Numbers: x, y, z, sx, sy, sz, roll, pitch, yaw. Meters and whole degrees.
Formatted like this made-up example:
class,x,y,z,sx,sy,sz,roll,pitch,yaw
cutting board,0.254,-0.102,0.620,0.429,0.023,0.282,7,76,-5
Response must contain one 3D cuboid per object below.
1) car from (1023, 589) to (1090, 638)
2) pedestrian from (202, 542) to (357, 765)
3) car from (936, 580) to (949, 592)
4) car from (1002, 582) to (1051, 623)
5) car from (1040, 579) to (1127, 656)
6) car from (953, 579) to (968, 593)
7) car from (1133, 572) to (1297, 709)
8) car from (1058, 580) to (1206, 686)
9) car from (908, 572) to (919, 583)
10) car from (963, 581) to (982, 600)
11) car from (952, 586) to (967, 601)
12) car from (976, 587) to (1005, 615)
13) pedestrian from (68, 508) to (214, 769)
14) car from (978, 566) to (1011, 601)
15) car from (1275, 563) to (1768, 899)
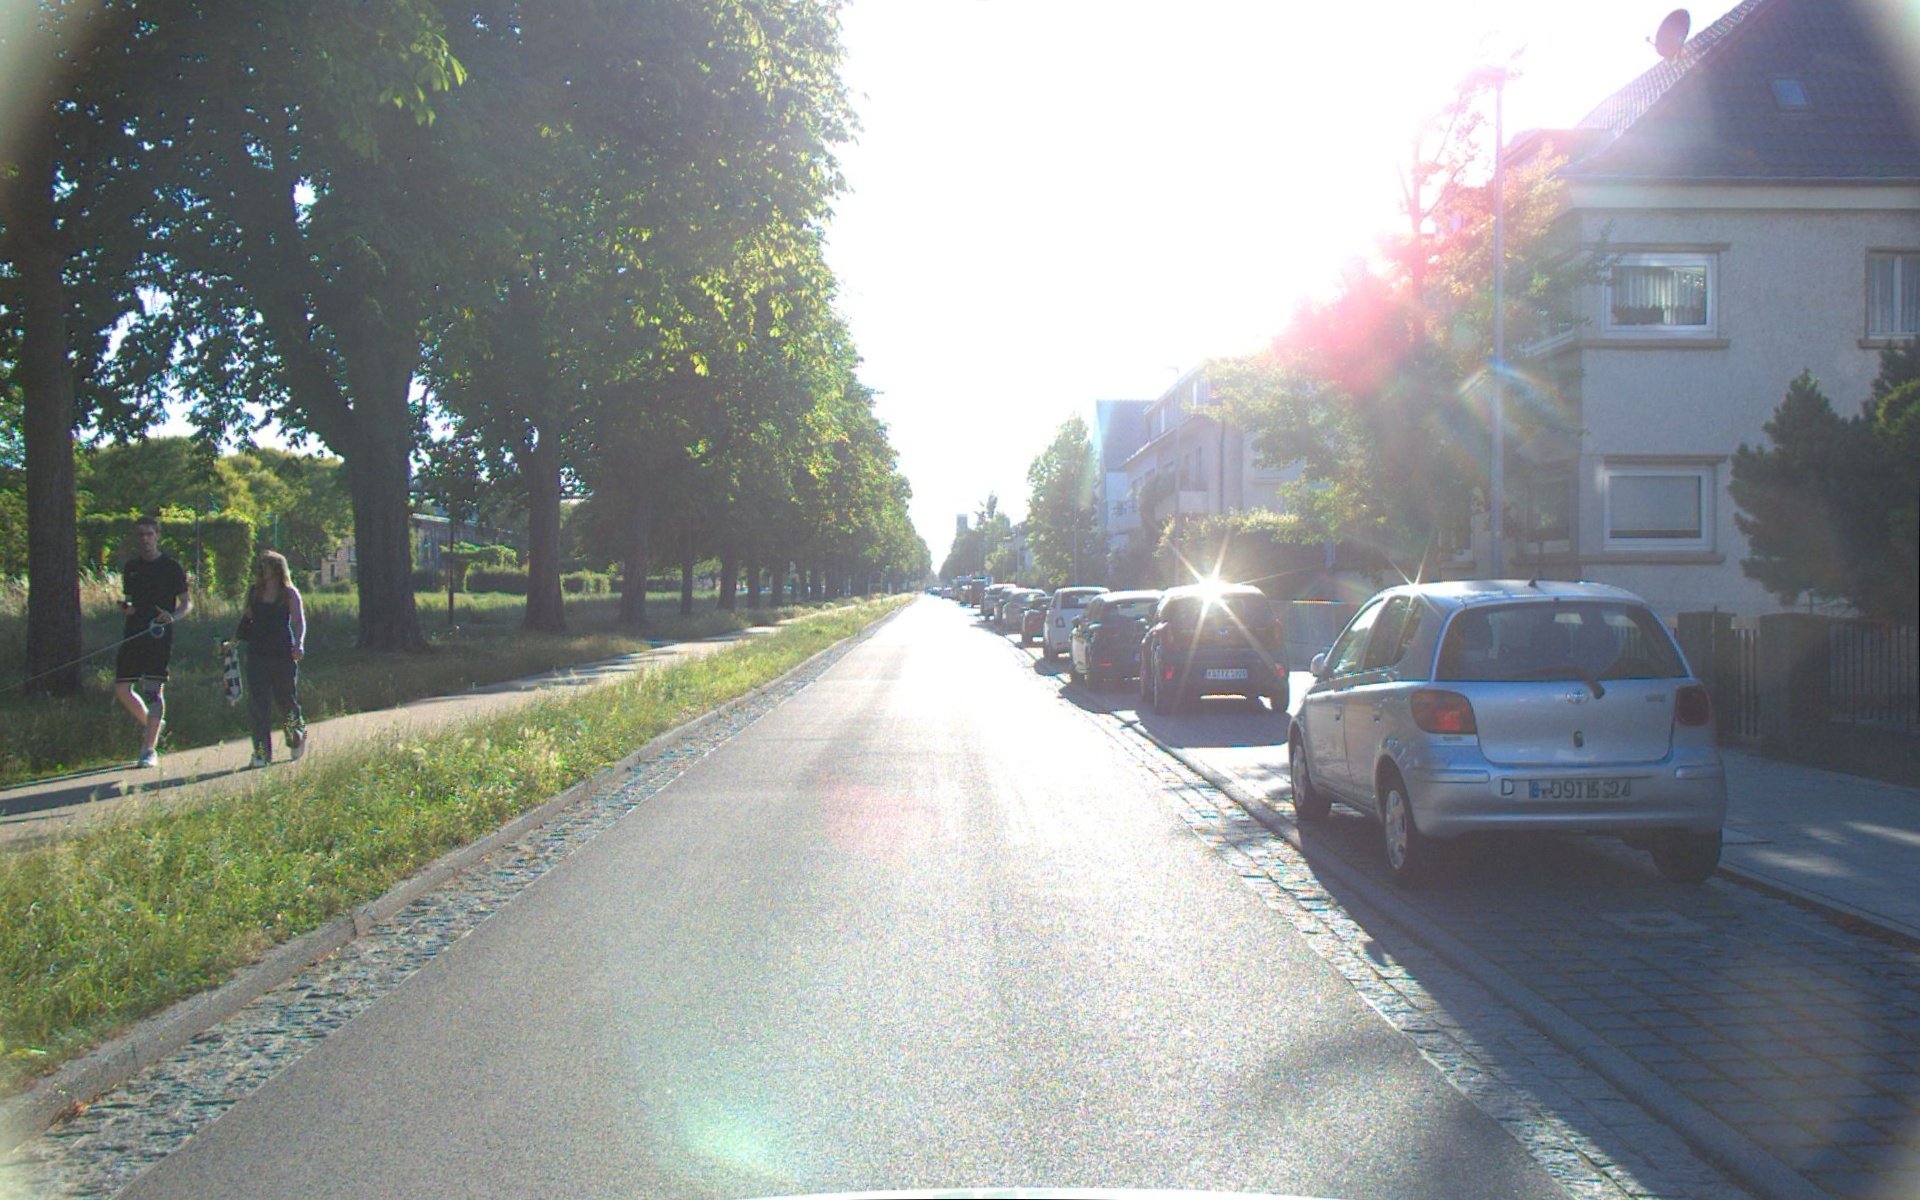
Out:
class,x,y,z,sx,sy,sz,roll,pitch,yaw
car,2.605,0.341,45.253,1.658,1.270,3.497,0,0,0
pedestrian,-5.205,0.390,12.703,0.767,1.642,0.952,0,1,3
car,-2.340,-1.837,221.512,1.618,1.568,3.266,1,0,-1
car,2.365,0.074,59.206,1.618,1.421,3.266,0,0,0
car,2.585,0.346,35.212,1.560,1.536,3.591,0,0,0
car,0.052,-1.548,183.747,1.618,1.568,3.266,1,0,0
car,3.111,0.461,20.753,1.623,1.520,3.717,-1,0,3
car,2.597,0.478,25.797,1.702,1.474,4.195,-2,0,-2
car,-7.043,-3.441,249.273,1.618,1.568,3.266,1,0,-1
car,1.049,-0.825,139.414,1.618,1.568,3.266,1,0,0
car,-0.043,-0.746,178.434,1.618,1.568,3.266,1,0,0
car,1.665,0.040,90.874,1.561,1.459,3.266,0,0,0
pedestrian,-6.051,0.266,12.257,0.611,1.863,0.886,0,0,3
car,1.603,-0.764,77.477,1.467,1.594,3.266,0,0,0
car,2.993,0.585,9.606,1.594,1.531,3.633,-2,1,0
